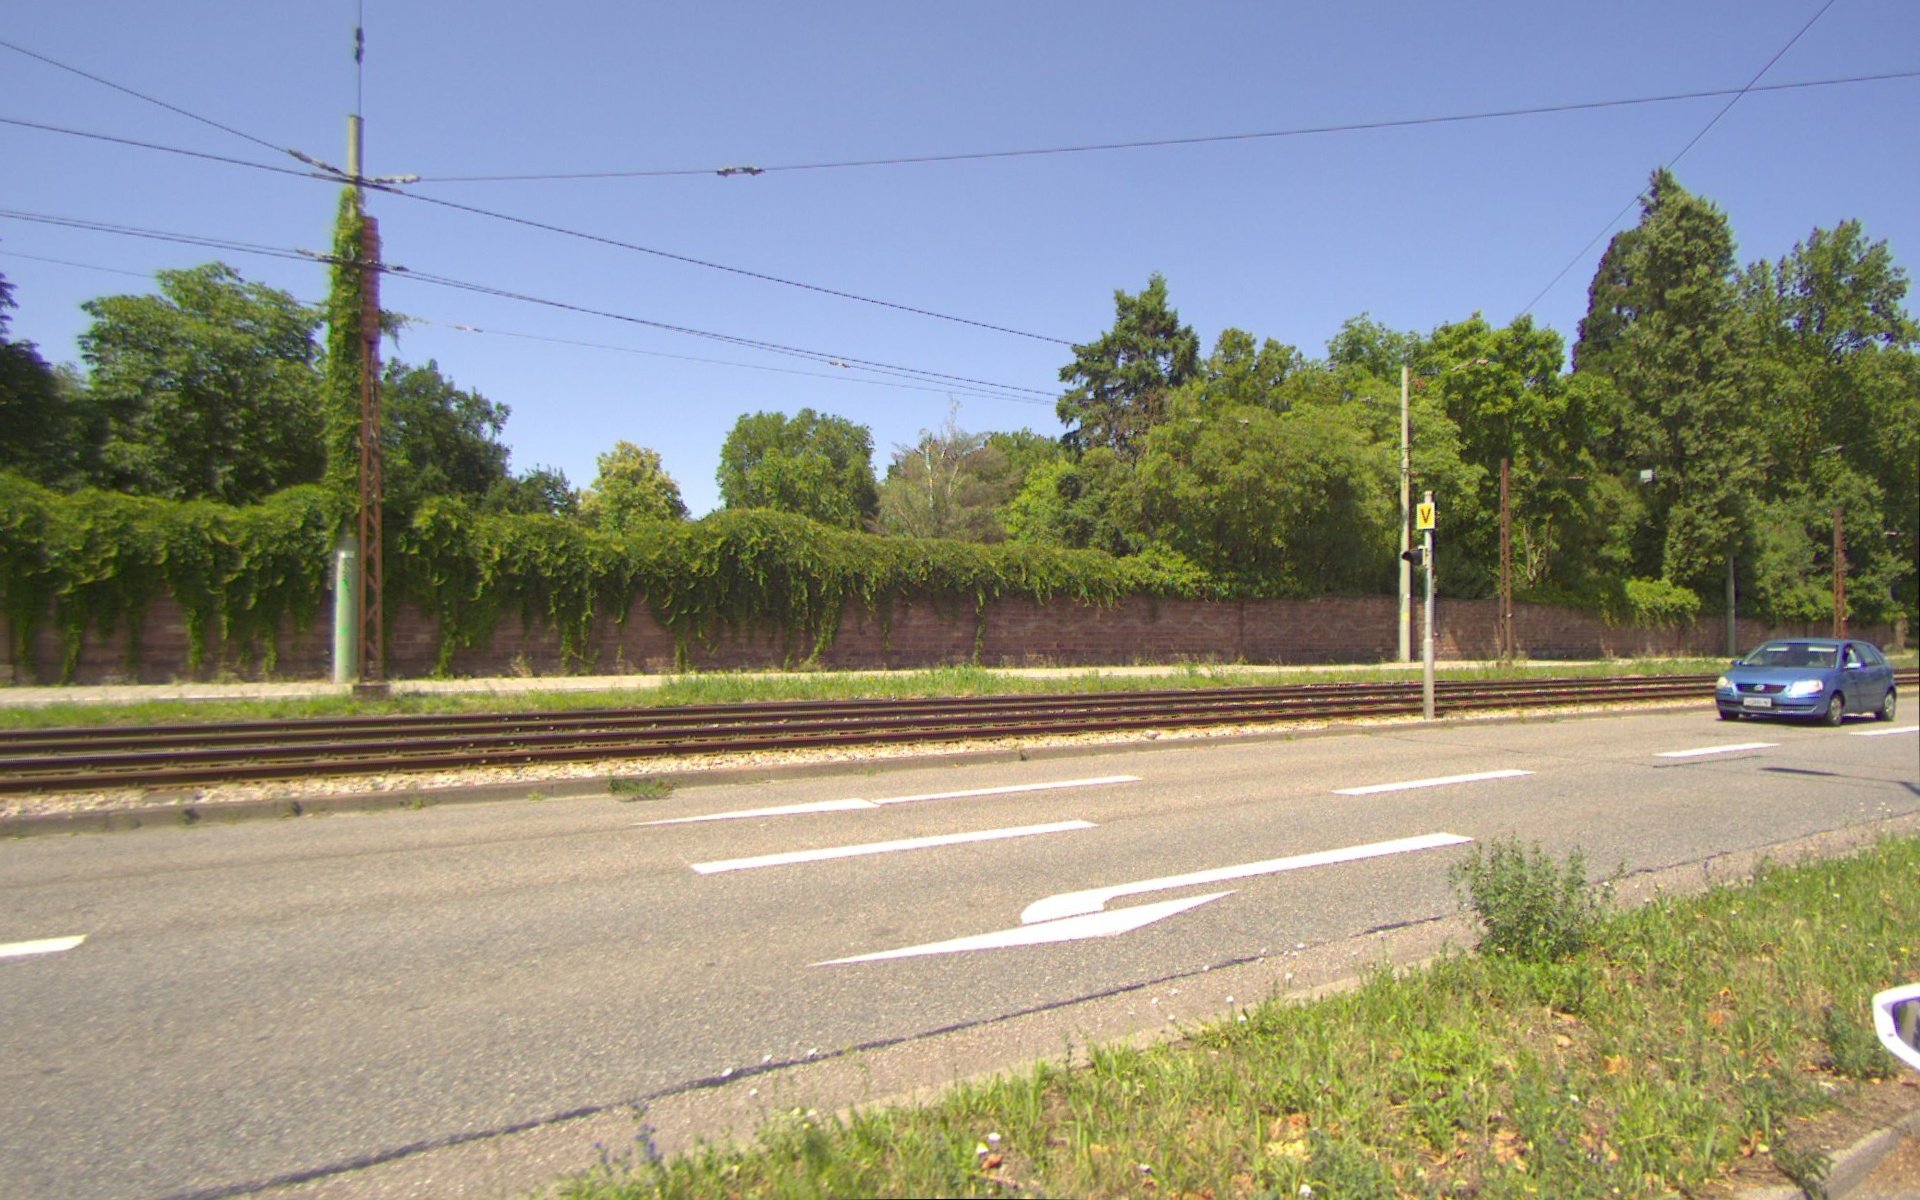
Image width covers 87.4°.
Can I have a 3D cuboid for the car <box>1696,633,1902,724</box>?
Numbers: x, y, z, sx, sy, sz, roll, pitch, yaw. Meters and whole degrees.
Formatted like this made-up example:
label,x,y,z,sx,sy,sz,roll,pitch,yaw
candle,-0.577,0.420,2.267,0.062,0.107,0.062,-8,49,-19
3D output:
label,x,y,z,sx,sy,sz,roll,pitch,yaw
car,14.940,1.322,17.848,3.956,1.458,1.688,2,-2,-32
